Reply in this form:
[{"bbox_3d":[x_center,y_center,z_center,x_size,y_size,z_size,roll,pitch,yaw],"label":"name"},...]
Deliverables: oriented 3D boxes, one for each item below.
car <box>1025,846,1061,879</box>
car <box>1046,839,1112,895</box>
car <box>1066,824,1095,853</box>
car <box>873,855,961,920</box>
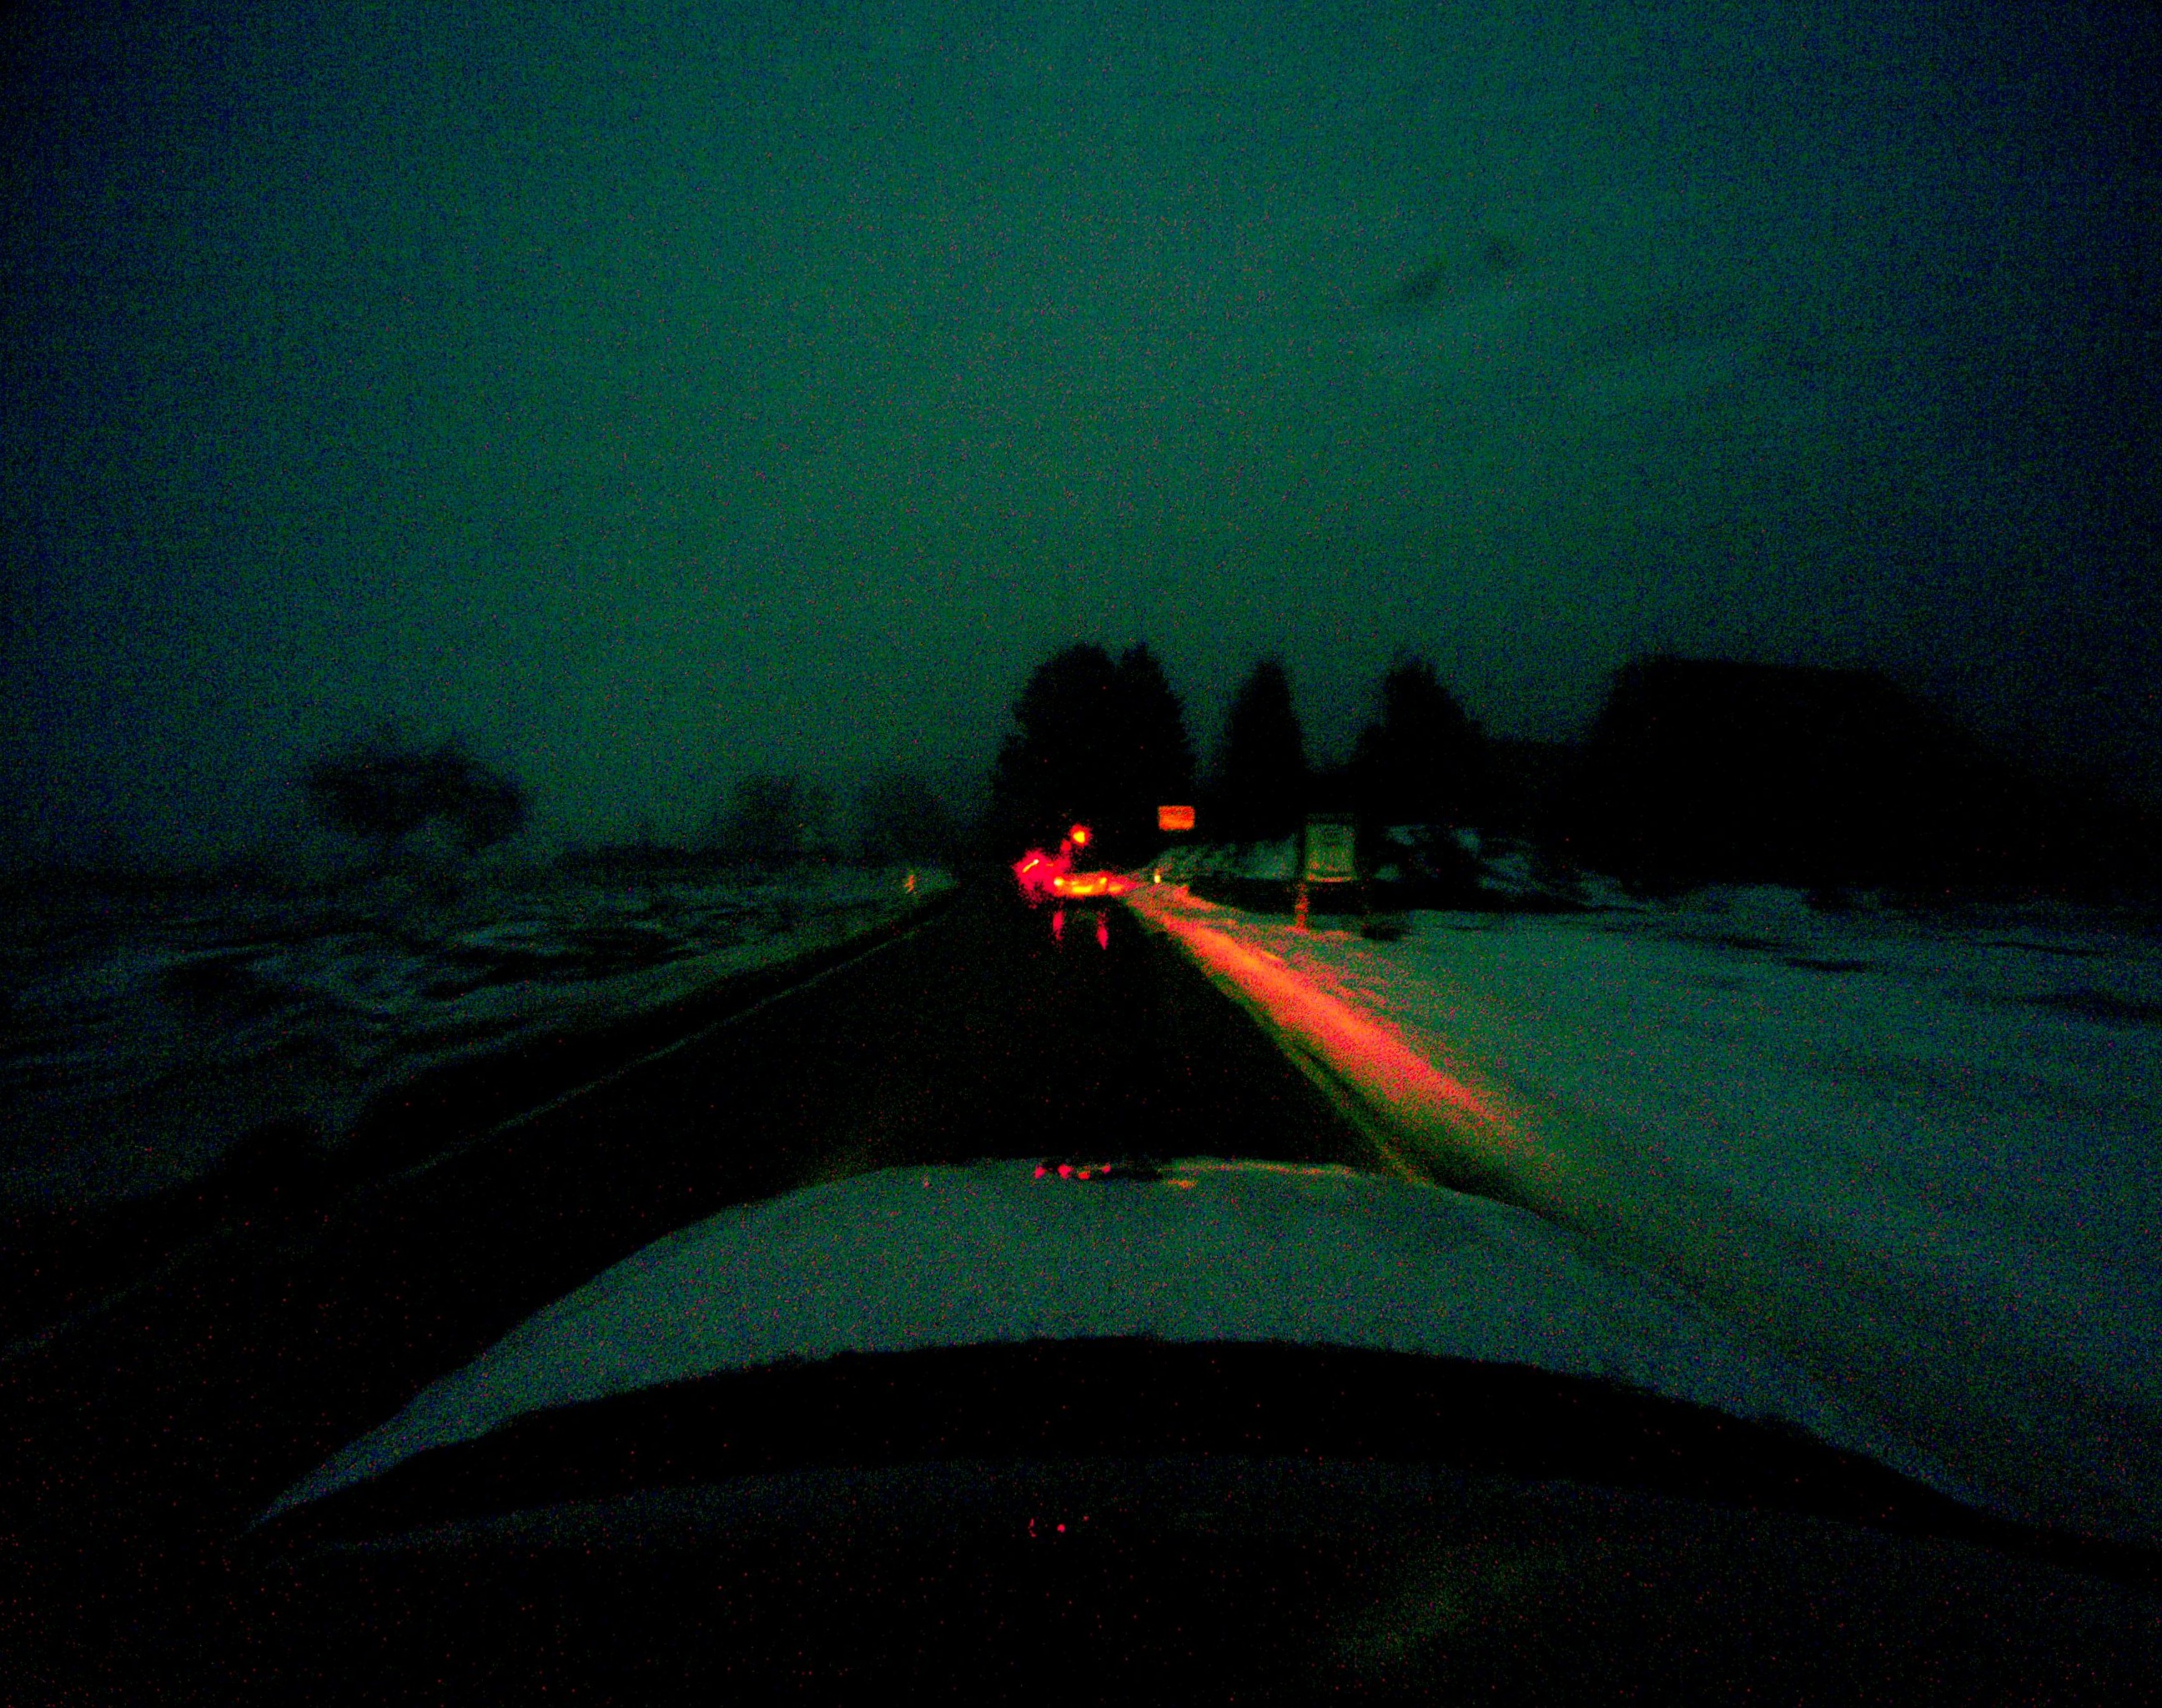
[{"bbox_3d":[-1.795,0.381,39.042,1.473,1.508,3.053,-1,0,1],"label":"car"},{"bbox_3d":[-0.130,0.427,24.679,1.703,1.463,3.994,4,-2,-3],"label":"car"},{"bbox_3d":[0.010,-0.860,45.978,1.473,1.508,3.054,-1,-1,2],"label":"car"},{"bbox_3d":[-4.144,0.818,20.997,1.516,1.508,3.054,-1,-1,2],"label":"car"}]
